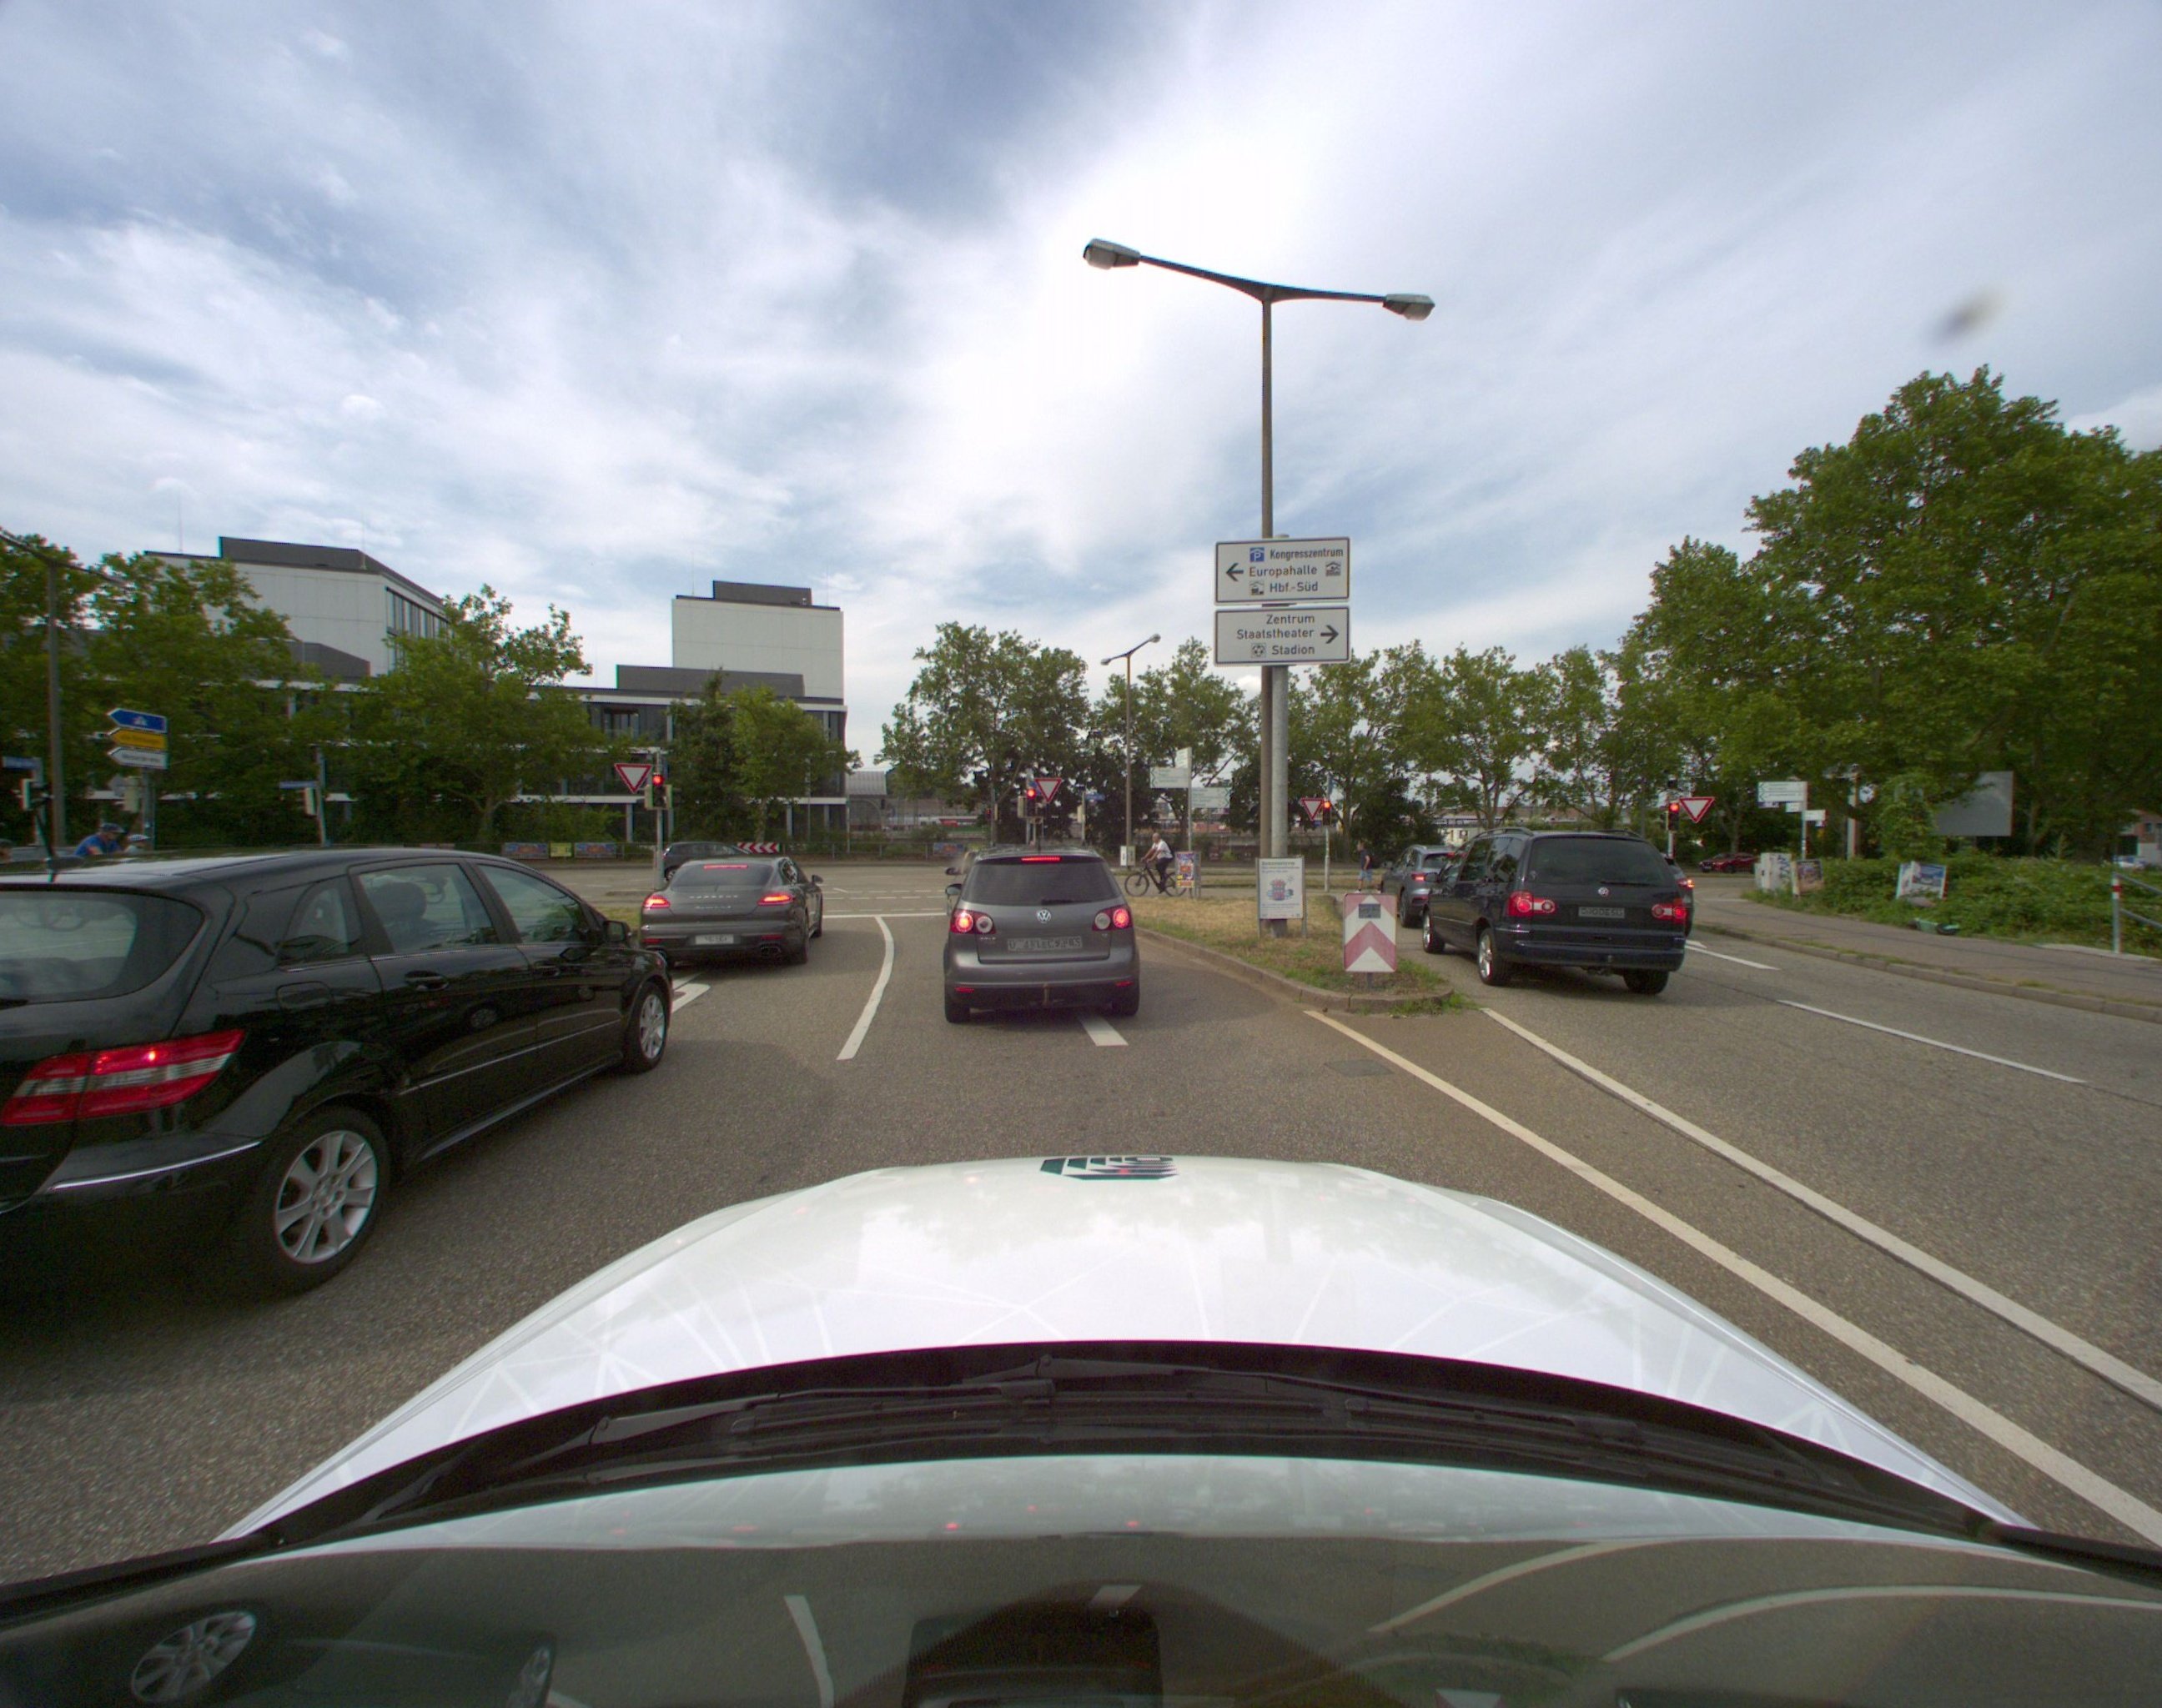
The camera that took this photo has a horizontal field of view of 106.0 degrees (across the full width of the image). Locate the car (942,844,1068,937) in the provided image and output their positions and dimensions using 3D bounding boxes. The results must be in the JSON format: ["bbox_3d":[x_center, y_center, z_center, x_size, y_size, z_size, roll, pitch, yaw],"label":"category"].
[{"bbox_3d":[-1.568,0.582,15.405,1.744,1.482,4.062,-1,0,-14],"label":"car"}]

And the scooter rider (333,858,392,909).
[{"bbox_3d":[-17.053,0.680,19.340,0.920,1.137,0.800,-1,1,-33],"label":"scooter rider"}]

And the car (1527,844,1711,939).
[{"bbox_3d":[10.749,0.662,16.656,1.739,1.643,4.152,2,0,12],"label":"car"}]

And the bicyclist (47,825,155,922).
[{"bbox_3d":[-17.258,0.321,14.368,0.883,1.656,0.807,-1,0,-18],"label":"bicyclist"}]

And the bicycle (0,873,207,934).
[{"bbox_3d":[-17.179,0.850,14.395,2.234,0.952,0.807,-1,1,-18],"label":"bicycle"}]

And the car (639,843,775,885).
[{"bbox_3d":[-12.739,0.312,28.010,4.068,1.368,1.692,-1,1,-18],"label":"car"}]

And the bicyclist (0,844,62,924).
[{"bbox_3d":[-19.721,0.545,14.915,1.115,1.436,0.644,-1,1,-15],"label":"bicyclist"}]

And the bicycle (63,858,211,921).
[{"bbox_3d":[-19.791,0.718,17.133,1.916,1.210,0.636,-1,1,-37],"label":"bicycle"}]

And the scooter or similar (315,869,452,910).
[{"bbox_3d":[-16.675,0.831,19.574,2.395,0.849,0.800,-1,1,-33],"label":"scooter or similar"}]

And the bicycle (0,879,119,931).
[{"bbox_3d":[-19.643,0.938,14.938,2.588,0.890,0.701,-1,1,-16],"label":"bicycle"}]

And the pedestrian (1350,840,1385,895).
[{"bbox_3d":[9.175,0.415,26.091,1.038,1.710,0.857,1,1,18],"label":"pedestrian"}]

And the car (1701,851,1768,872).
[{"bbox_3d":[46.164,0.515,57.566,3.957,1.448,1.694,-1,1,-14],"label":"car"}]

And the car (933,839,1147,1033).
[{"bbox_3d":[-0.551,0.642,8.674,1.739,1.546,4.072,-1,0,-7],"label":"car"}]

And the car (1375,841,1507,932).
[{"bbox_3d":[7.202,0.575,16.708,1.679,1.585,4.170,2,0,13],"label":"car"}]

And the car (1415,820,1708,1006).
[{"bbox_3d":[5.456,0.555,9.922,1.739,1.724,4.150,2,0,11],"label":"car"}]

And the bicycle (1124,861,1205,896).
[{"bbox_3d":[2.433,0.718,23.859,2.227,0.952,0.809,-1,1,-9],"label":"bicycle"}]

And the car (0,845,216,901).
[{"bbox_3d":[-27.585,0.503,22.923,4.068,1.450,1.693,-1,1,-18],"label":"car"}]

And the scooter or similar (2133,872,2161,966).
[{"bbox_3d":[13.887,0.832,9.957,0.395,1.183,1.280,-1,0,1],"label":"scooter or similar"}]

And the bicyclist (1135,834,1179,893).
[{"bbox_3d":[2.213,0.263,23.820,1.111,1.696,0.811,-1,0,-8],"label":"bicyclist"}]

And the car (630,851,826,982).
[{"bbox_3d":[-4.761,0.693,11.688,1.821,1.414,4.753,0,1,-14],"label":"car"}]

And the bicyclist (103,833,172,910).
[{"bbox_3d":[-19.800,0.351,17.112,0.785,1.581,0.647,-1,1,-36],"label":"bicyclist"}]

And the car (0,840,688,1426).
[{"bbox_3d":[-3.681,0.740,4.173,1.755,1.575,4.027,0,1,-7],"label":"car"}]
